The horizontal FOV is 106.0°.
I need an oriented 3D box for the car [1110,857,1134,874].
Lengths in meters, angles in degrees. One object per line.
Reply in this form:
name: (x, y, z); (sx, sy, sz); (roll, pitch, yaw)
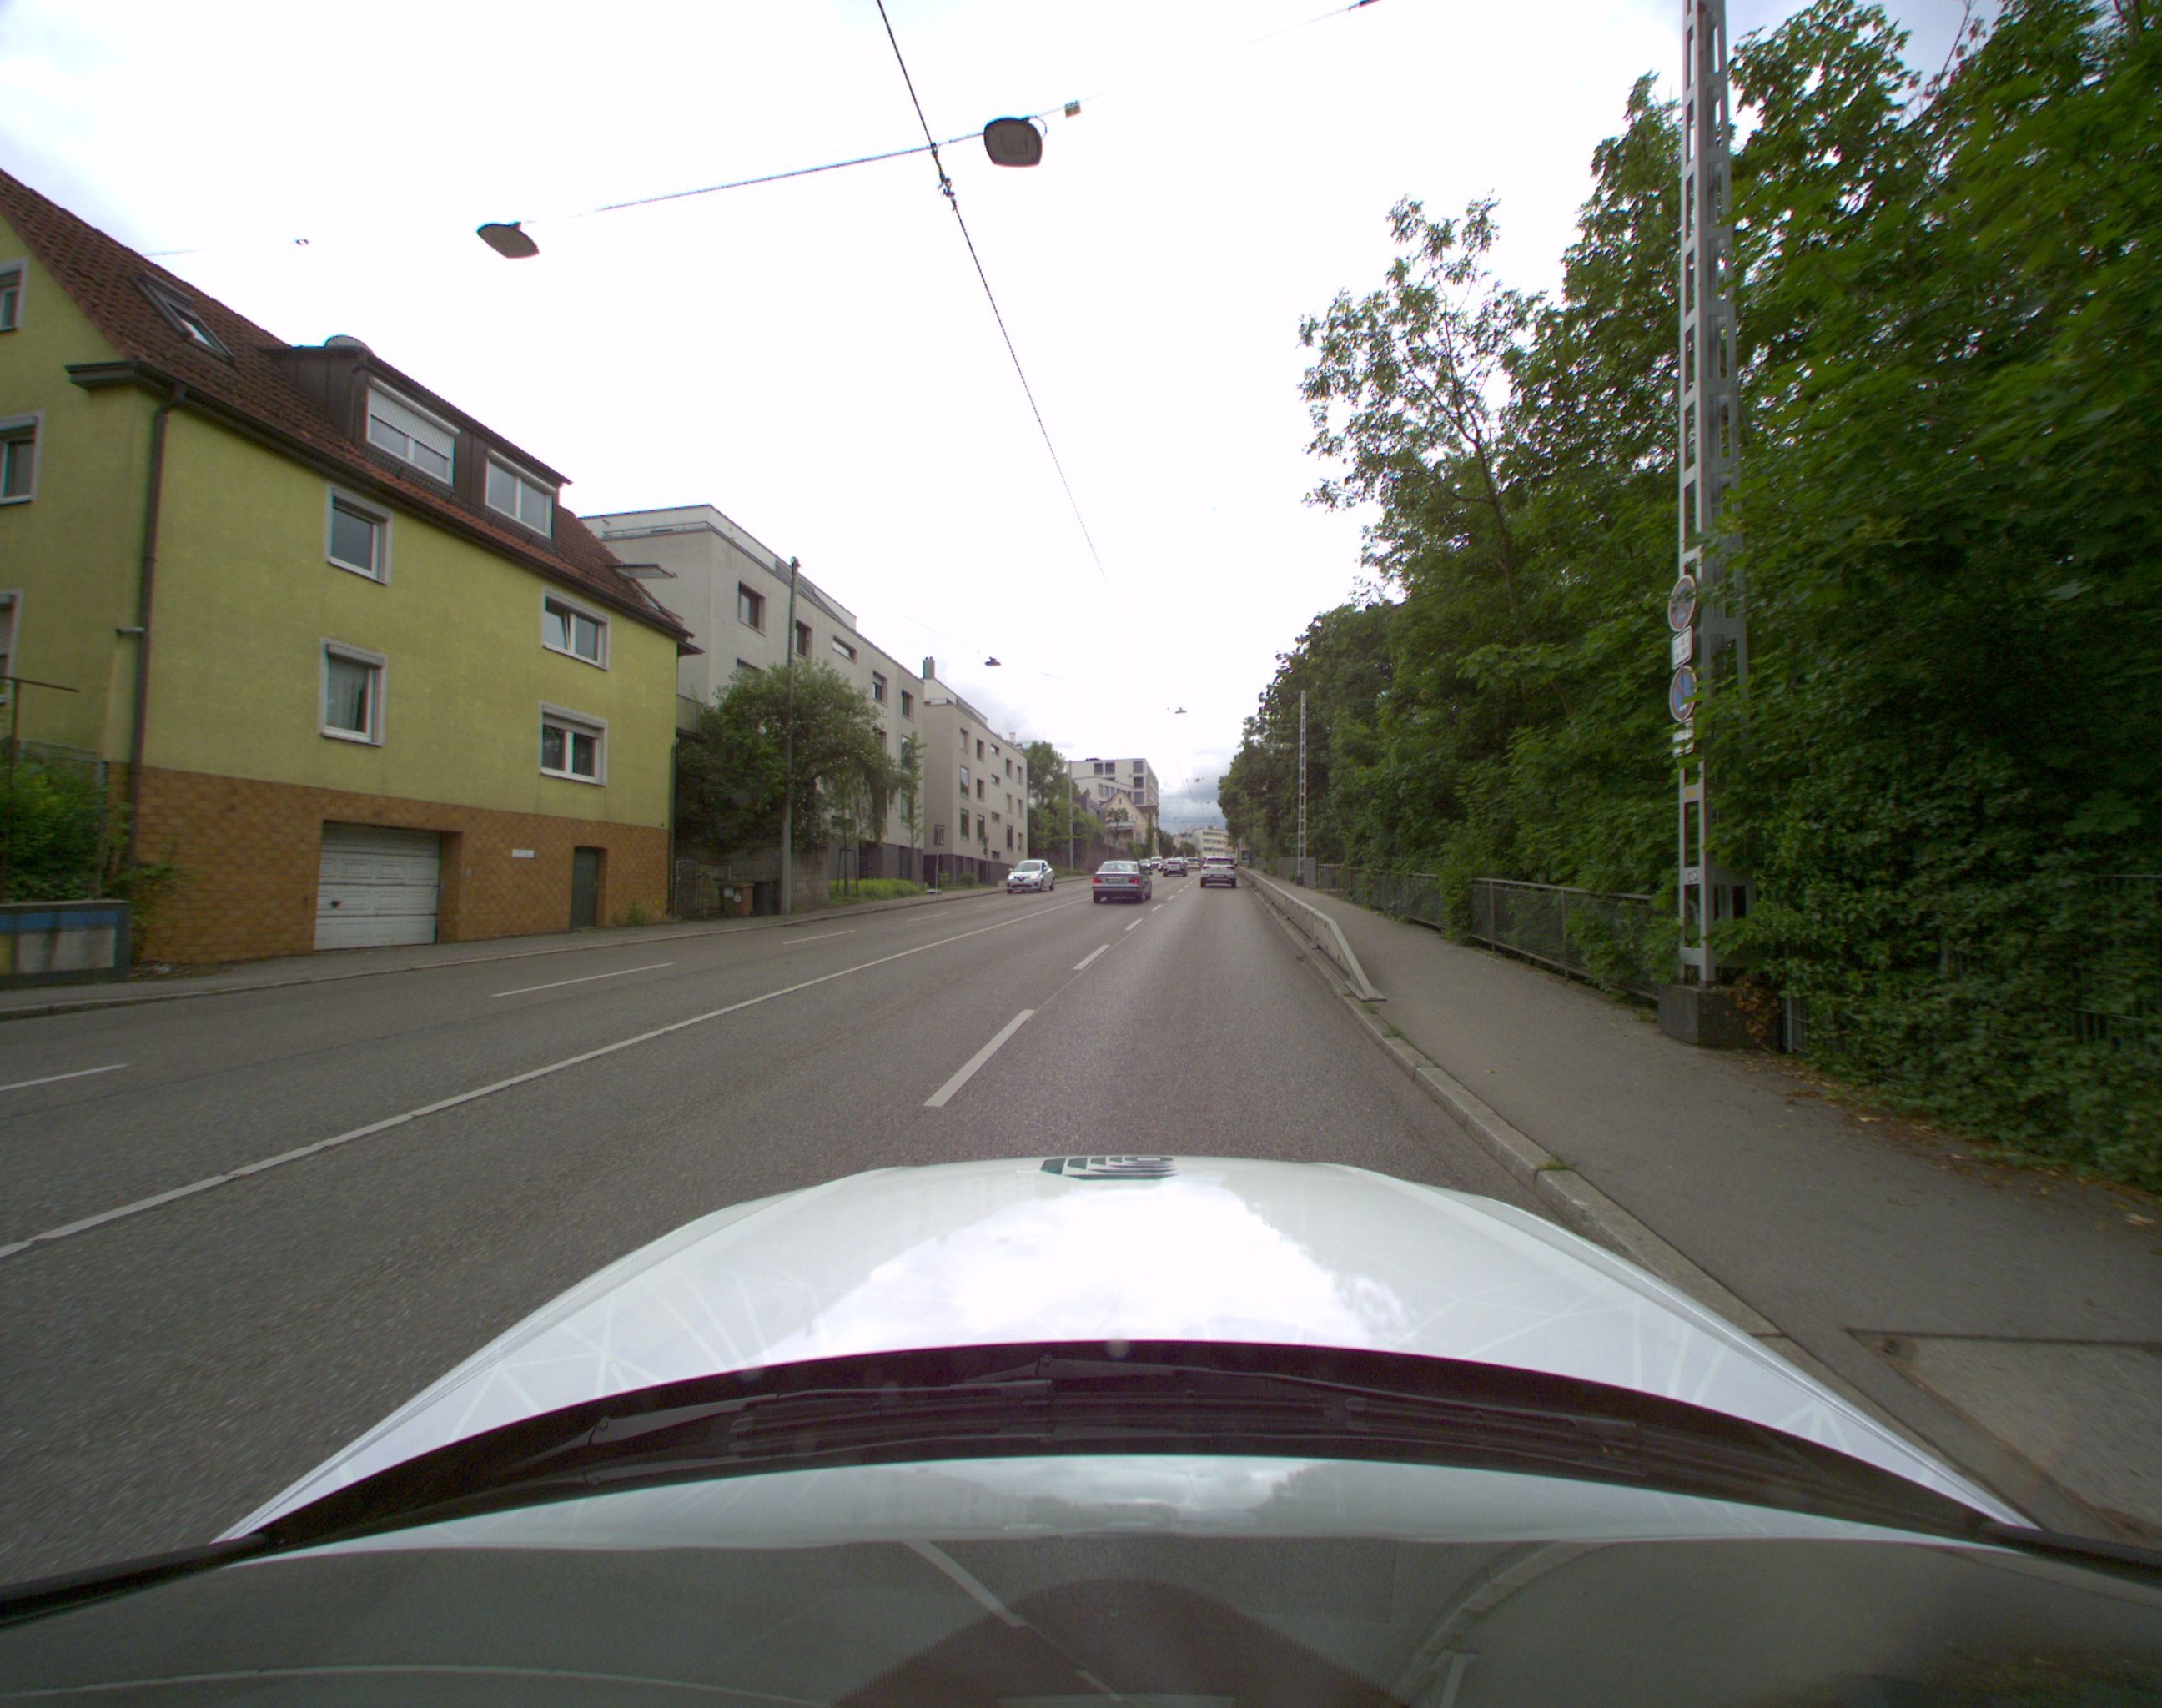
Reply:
car: (3.910, 1.050, 76.818); (1.762, 1.464, 4.203); (-2, 0, 10)

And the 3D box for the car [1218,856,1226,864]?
car: (34.482, 1.527, 198.877); (1.981, 2.014, 4.011); (0, 0, 10)

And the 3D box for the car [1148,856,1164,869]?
car: (10.788, 1.191, 116.717); (1.722, 1.788, 4.880); (-2, -1, 10)

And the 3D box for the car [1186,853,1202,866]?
car: (12.801, 0.639, 92.198); (1.696, 1.464, 4.011); (-1, 0, 10)

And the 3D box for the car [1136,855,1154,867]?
car: (7.901, 0.849, 100.622); (1.722, 1.464, 4.436); (-2, -1, 10)

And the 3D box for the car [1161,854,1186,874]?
car: (7.284, 0.771, 64.176); (1.696, 1.464, 4.011); (-1, 0, 10)

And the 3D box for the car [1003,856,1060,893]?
car: (-2.354, 0.958, 39.704); (1.733, 1.614, 4.069); (-3, 0, 11)

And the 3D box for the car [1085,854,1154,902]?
car: (1.369, 0.780, 27.478); (1.695, 1.464, 4.012); (1, -1, 12)

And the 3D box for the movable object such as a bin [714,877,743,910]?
movable object such as a bin: (-9.949, 1.122, 23.005); (0.567, 0.885, 0.608); (2, -1, -7)

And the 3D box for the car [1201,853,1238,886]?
car: (7.005, 0.749, 41.320); (1.769, 1.579, 4.010); (0, 0, 9)

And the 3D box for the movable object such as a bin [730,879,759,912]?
movable object such as a bin: (-9.272, 1.142, 22.451); (0.567, 0.885, 0.608); (2, -1, -7)

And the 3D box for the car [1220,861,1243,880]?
car: (12.106, 1.303, 65.482); (1.696, 1.464, 4.011); (2, -1, 10)

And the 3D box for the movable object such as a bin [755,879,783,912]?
movable object such as a bin: (-8.662, 1.144, 22.612); (0.567, 0.885, 0.608); (2, -1, -7)

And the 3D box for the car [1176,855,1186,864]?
car: (21.751, 1.238, 177.118); (1.805, 1.784, 4.507); (1, 0, 10)

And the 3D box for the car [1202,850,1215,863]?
car: (17.326, 0.351, 110.562); (1.646, 1.765, 3.296); (0, 0, 10)
